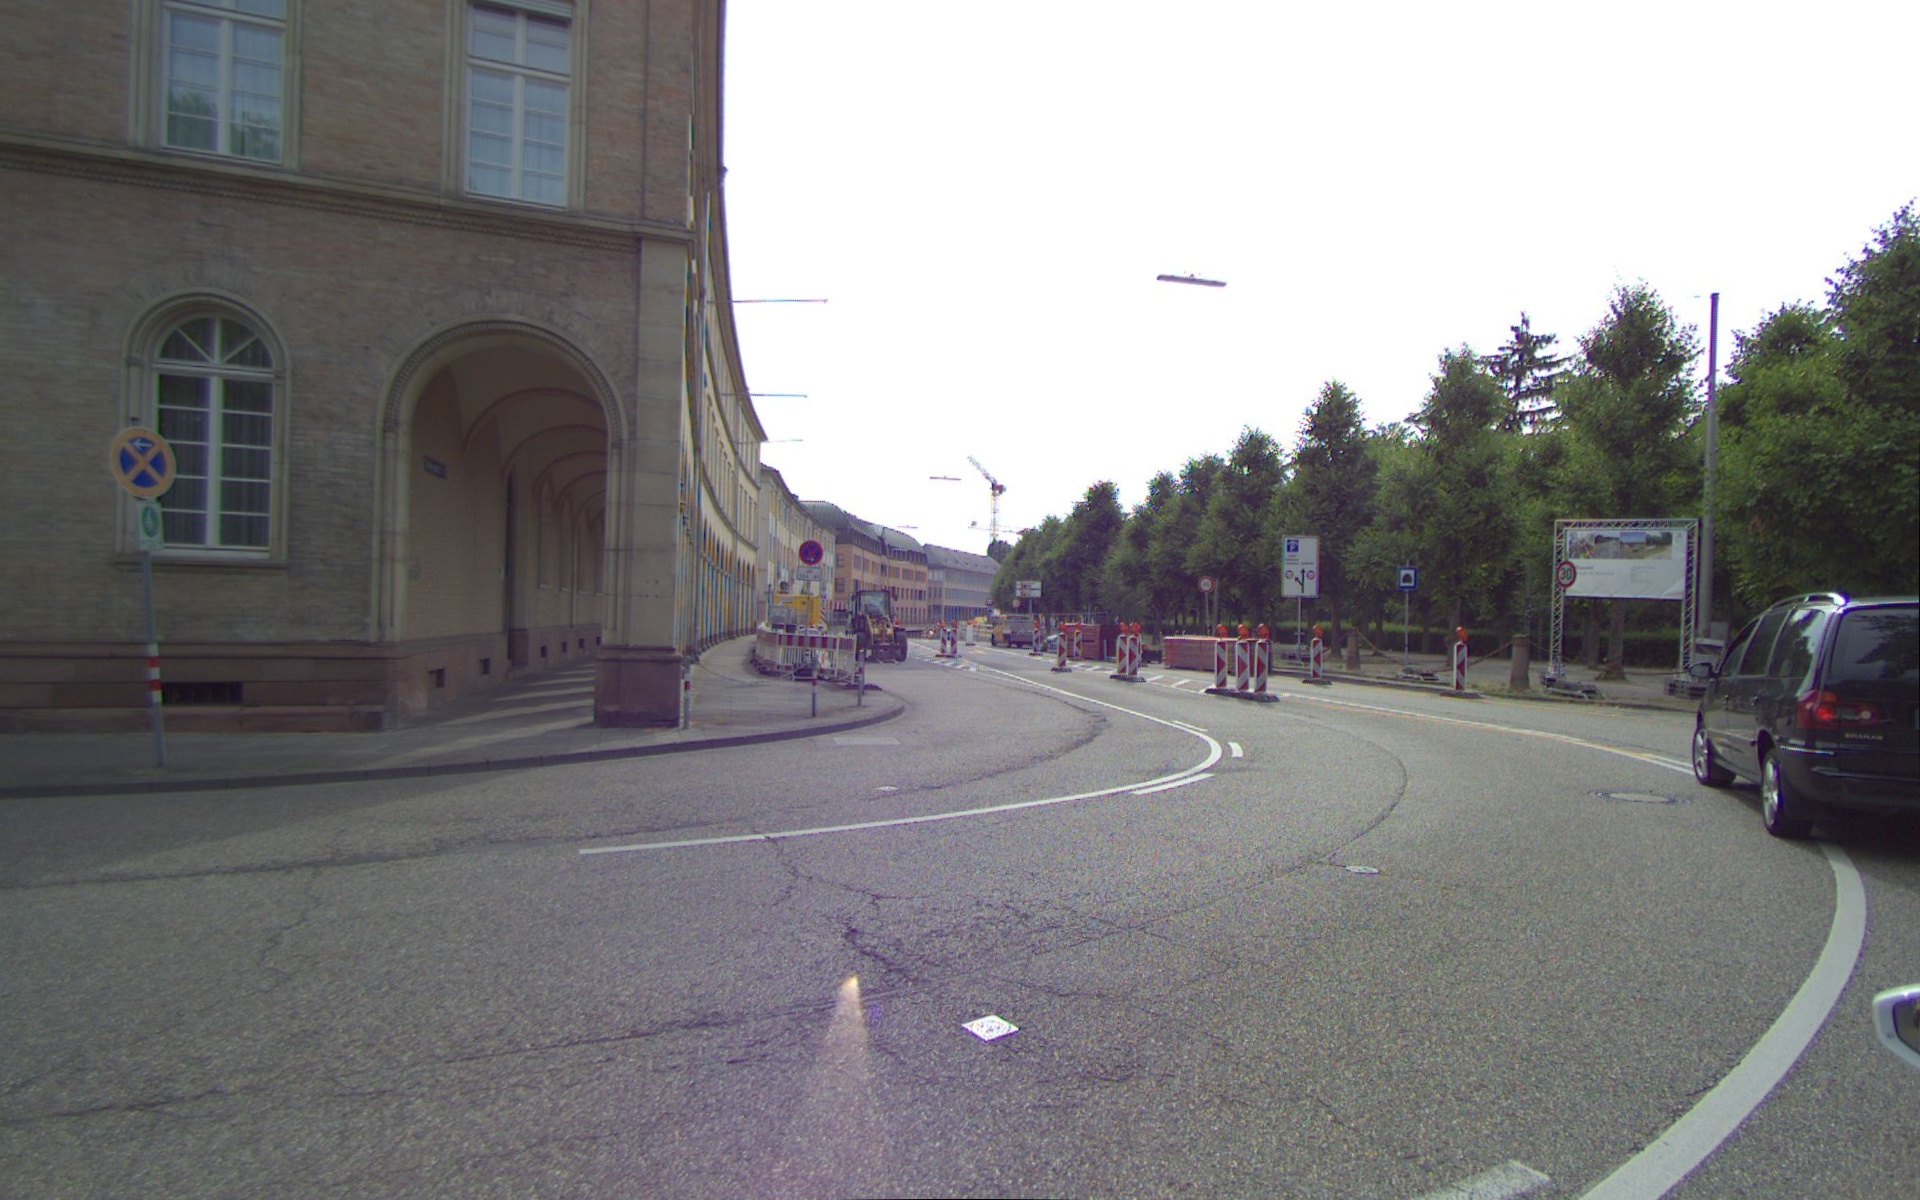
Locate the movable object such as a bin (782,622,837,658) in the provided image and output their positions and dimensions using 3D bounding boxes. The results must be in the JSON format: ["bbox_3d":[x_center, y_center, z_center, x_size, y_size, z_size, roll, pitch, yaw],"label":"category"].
[{"bbox_3d":[-5.511,1.447,36.604,1.781,1.140,2.741,1,1,-12],"label":"movable object such as a bin"}]

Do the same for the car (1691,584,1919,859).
[{"bbox_3d":[7.209,0.816,8.034,1.767,1.731,4.123,0,-1,30],"label":"car"}]

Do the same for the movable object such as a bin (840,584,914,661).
[{"bbox_3d":[-3.268,0.874,38.687,2.086,2.754,4.607,1,-1,-14],"label":"movable object such as a bin"}]

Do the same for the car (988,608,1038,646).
[{"bbox_3d":[3.138,1.612,60.861,1.965,2.041,4.335,1,1,-12],"label":"car"}]
